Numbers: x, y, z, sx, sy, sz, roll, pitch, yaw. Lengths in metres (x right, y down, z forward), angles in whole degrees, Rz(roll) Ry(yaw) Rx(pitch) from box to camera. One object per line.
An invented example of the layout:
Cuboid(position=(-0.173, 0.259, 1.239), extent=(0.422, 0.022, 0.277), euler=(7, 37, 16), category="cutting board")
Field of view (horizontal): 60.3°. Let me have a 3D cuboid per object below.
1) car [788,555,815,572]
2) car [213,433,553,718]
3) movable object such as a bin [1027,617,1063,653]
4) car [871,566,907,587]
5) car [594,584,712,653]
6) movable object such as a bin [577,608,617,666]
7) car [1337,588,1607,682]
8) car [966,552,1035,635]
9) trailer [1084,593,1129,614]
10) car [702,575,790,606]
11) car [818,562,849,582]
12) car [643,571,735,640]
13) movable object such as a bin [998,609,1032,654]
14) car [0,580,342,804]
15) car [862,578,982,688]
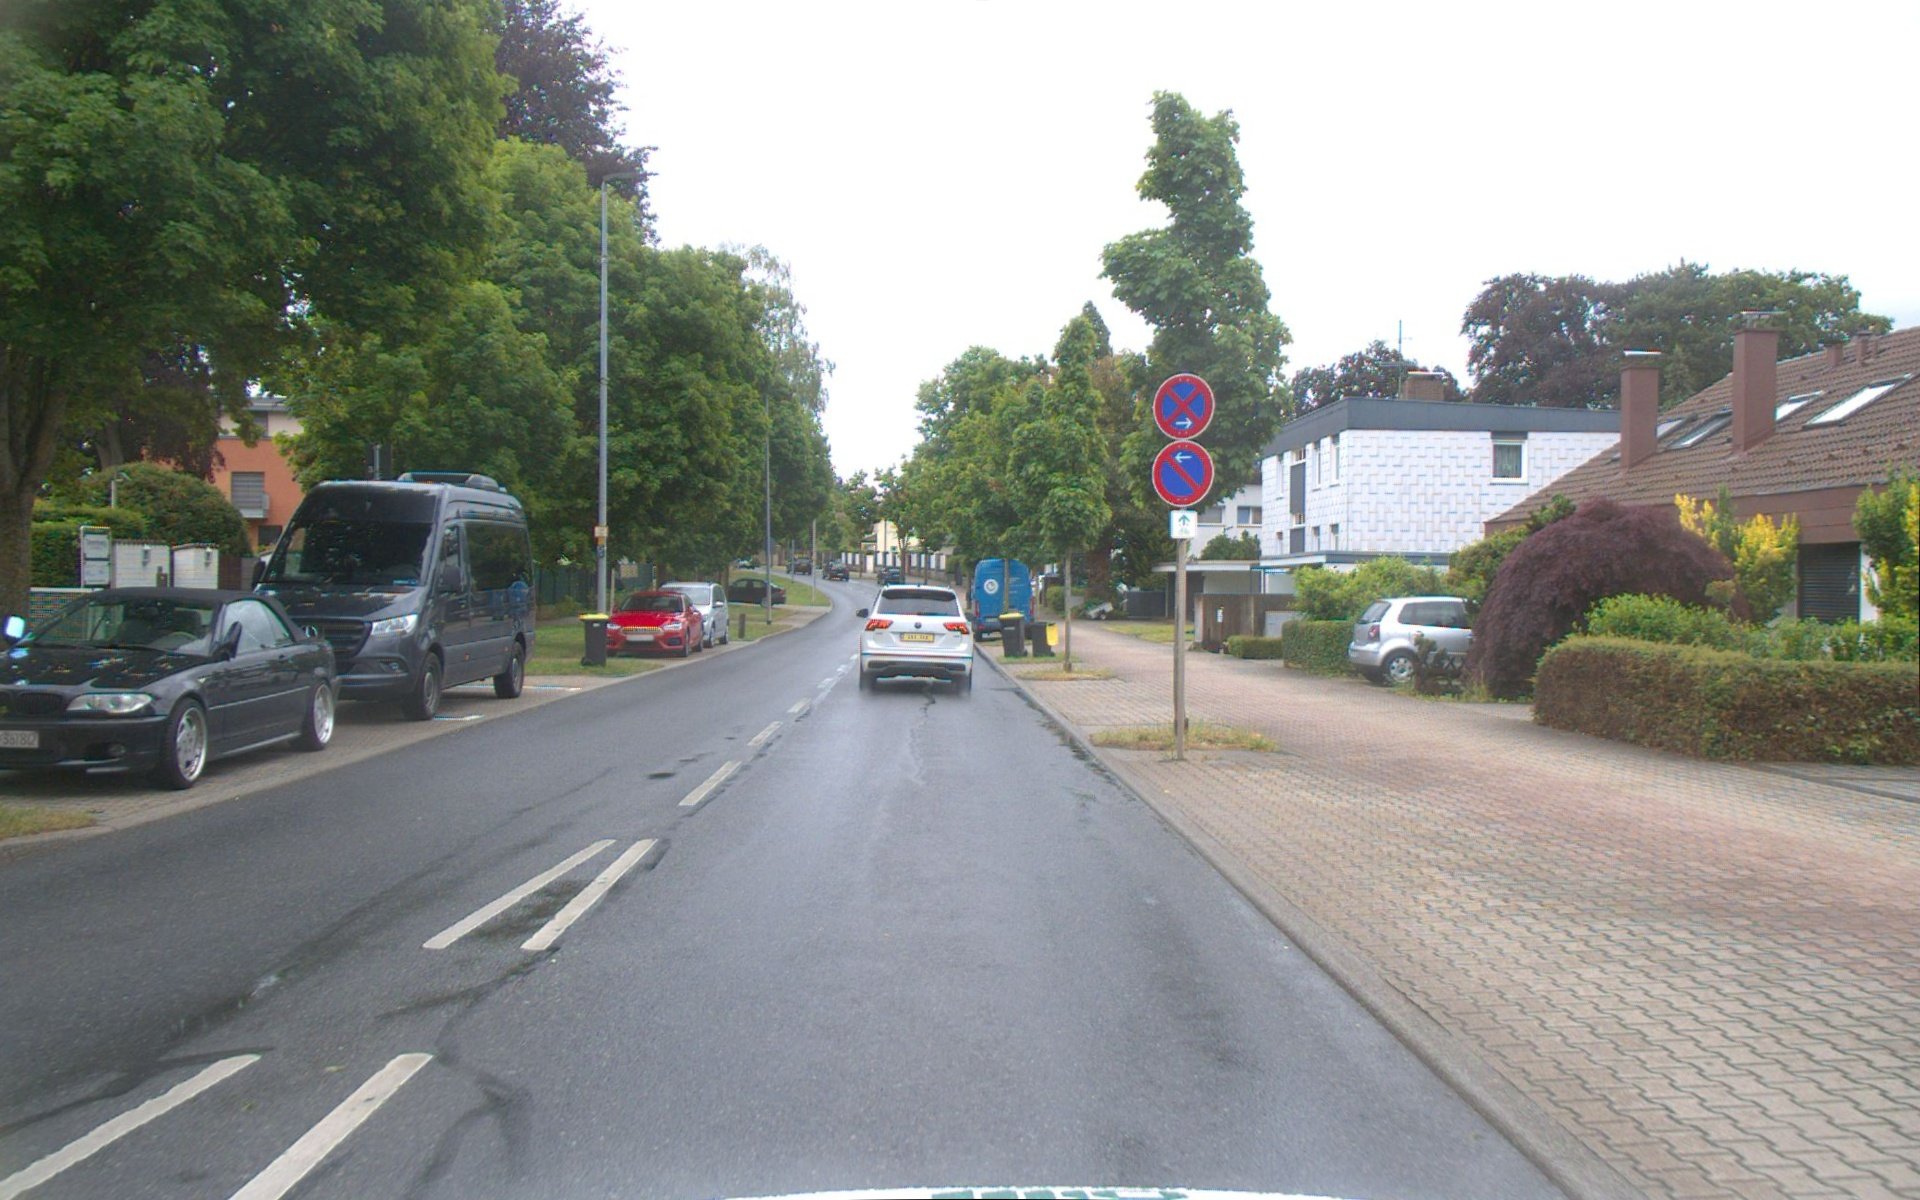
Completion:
Cuboid(position=(-14.659, -3.370, 153.036), extent=(1.617, 1.452, 3.980), euler=(2, 2, -18), category="car")
Cuboid(position=(-6.500, -0.281, 19.512), extent=(1.953, 2.776, 5.936), euler=(2, 1, -1), category="car")
Cuboid(position=(2.012, 0.836, 39.085), extent=(0.646, 0.814, 0.600), euler=(-3, -1, 24), category="movable object such as a bin")
Cuboid(position=(-5.617, -1.857, 129.896), extent=(1.619, 1.452, 3.977), euler=(2, 2, -21), category="car")
Cuboid(position=(-6.851, 0.373, 37.332), extent=(1.953, 1.428, 4.555), euler=(1, 1, -2), category="car")
Cuboid(position=(-6.254, 0.634, 28.513), extent=(0.546, 0.970, 0.550), euler=(1, 0, 2), category="movable object such as a bin")
Cuboid(position=(8.453, 0.564, 27.533), extent=(3.908, 1.467, 1.846), euler=(1, 0, -4), category="car")
Cuboid(position=(1.321, -0.263, 56.040), extent=(1.953, 2.632, 5.631), euler=(-1, 1, -2), category="car")
Cuboid(position=(6.992, 0.148, 79.100), extent=(2.000, 0.899, 1.365), euler=(2, 1, 1), category="trailer")
Cuboid(position=(-10.887, -0.473, 84.349), extent=(4.130, 1.386, 1.690), euler=(2, 1, 3), category="car")
Cuboid(position=(-10.614, -2.343, 138.178), extent=(1.617, 1.452, 3.980), euler=(2, 2, -18), category="car")
Cuboid(position=(-6.986, 0.116, 43.015), extent=(1.721, 1.656, 4.232), euler=(1, 1, -1), category="car")
Cuboid(position=(1.325, 0.750, 39.695), extent=(0.602, 1.033, 0.562), euler=(-4, -1, 24), category="movable object such as a bin")
Cuboid(position=(-6.217, 0.597, 12.596), extent=(1.688, 1.433, 3.823), euler=(1, 0, -2), category="car")
Cuboid(position=(-0.677, 0.511, 27.261), extent=(1.828, 1.679, 3.998), euler=(0, 0, -3), category="car")
